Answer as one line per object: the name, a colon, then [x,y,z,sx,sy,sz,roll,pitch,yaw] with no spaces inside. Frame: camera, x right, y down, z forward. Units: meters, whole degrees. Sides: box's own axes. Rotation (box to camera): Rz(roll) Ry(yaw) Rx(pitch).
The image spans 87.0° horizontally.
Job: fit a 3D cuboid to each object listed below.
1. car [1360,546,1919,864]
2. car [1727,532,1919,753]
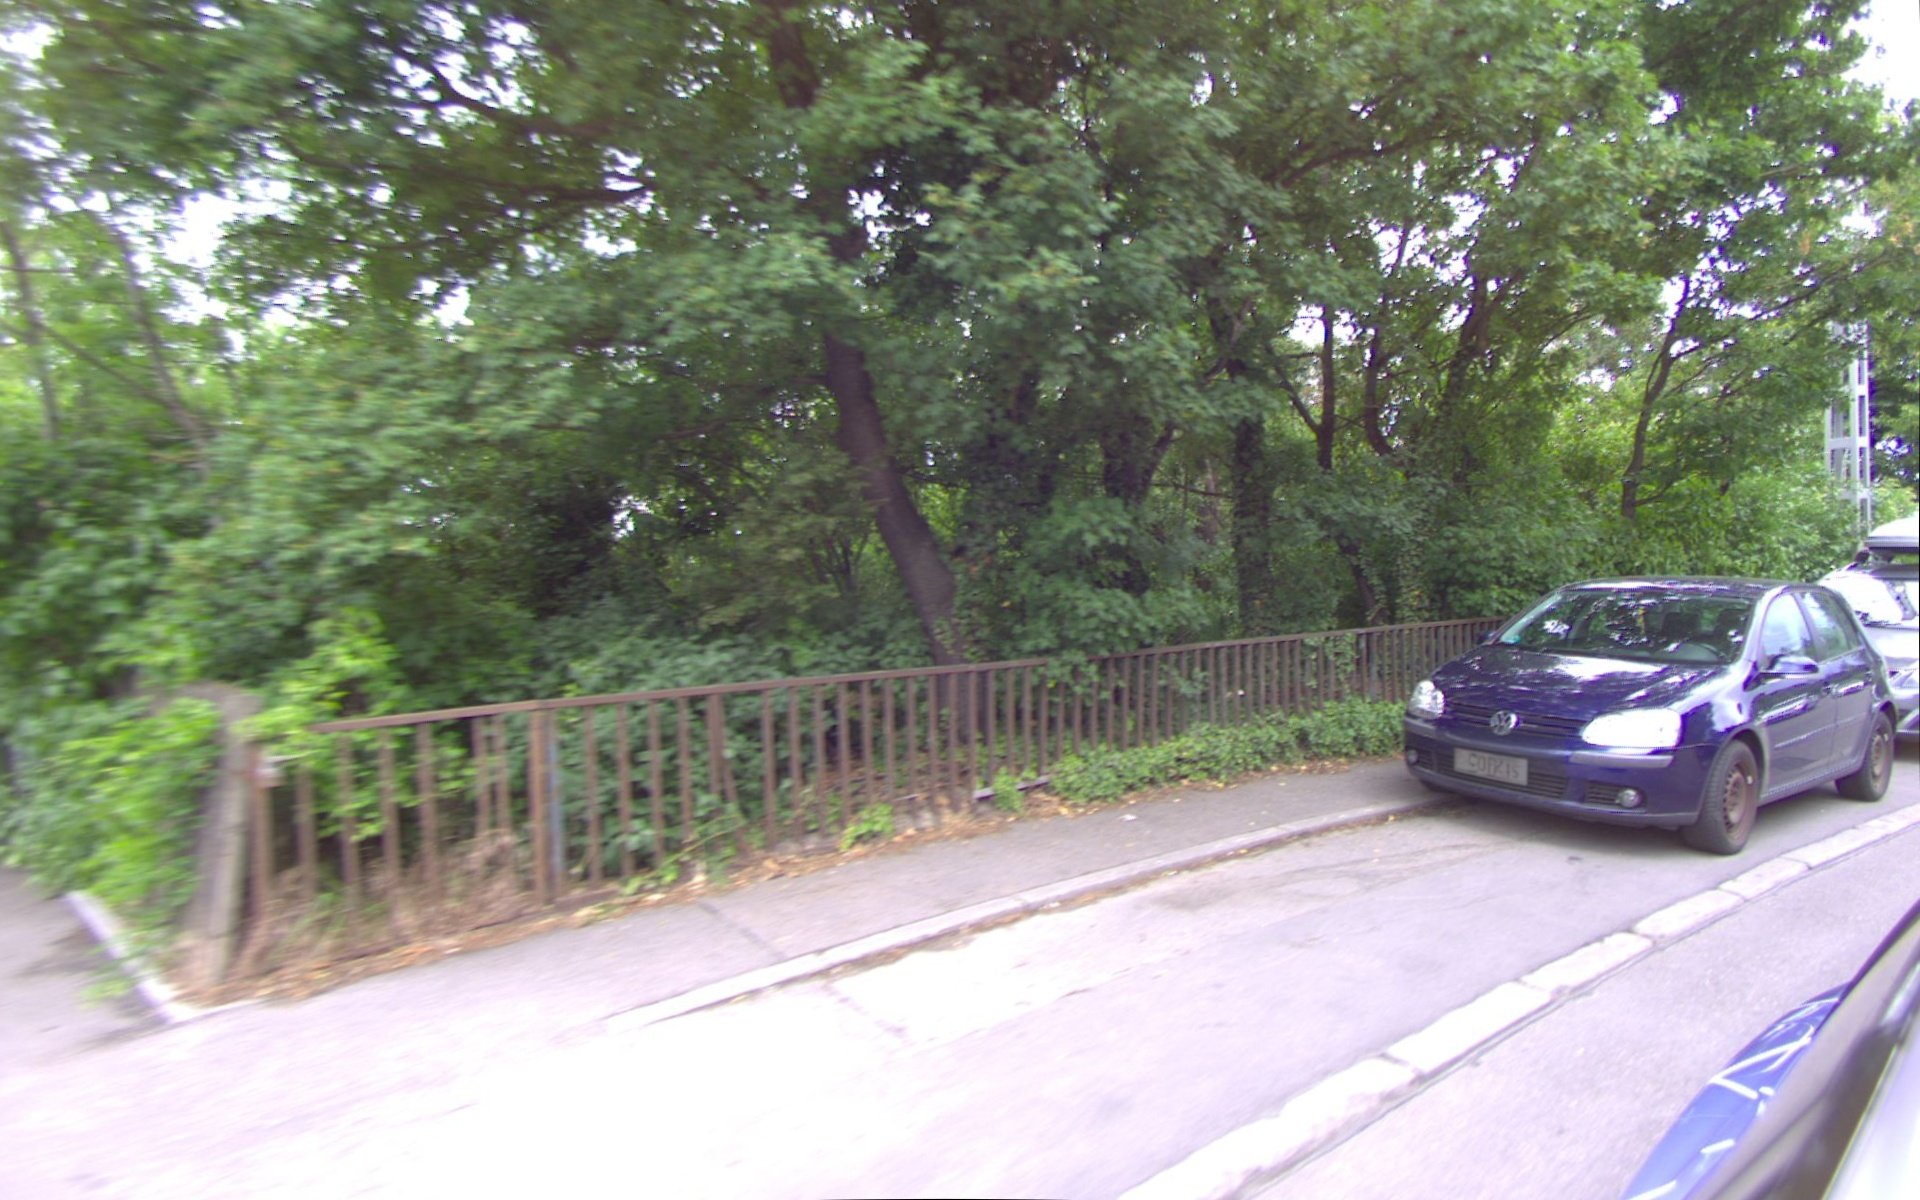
car: [4.553,0.484,6.565,3.956,1.506,1.666,0,1,-33]
car: [9.446,0.337,9.782,4.517,1.794,1.805,0,1,-33]
